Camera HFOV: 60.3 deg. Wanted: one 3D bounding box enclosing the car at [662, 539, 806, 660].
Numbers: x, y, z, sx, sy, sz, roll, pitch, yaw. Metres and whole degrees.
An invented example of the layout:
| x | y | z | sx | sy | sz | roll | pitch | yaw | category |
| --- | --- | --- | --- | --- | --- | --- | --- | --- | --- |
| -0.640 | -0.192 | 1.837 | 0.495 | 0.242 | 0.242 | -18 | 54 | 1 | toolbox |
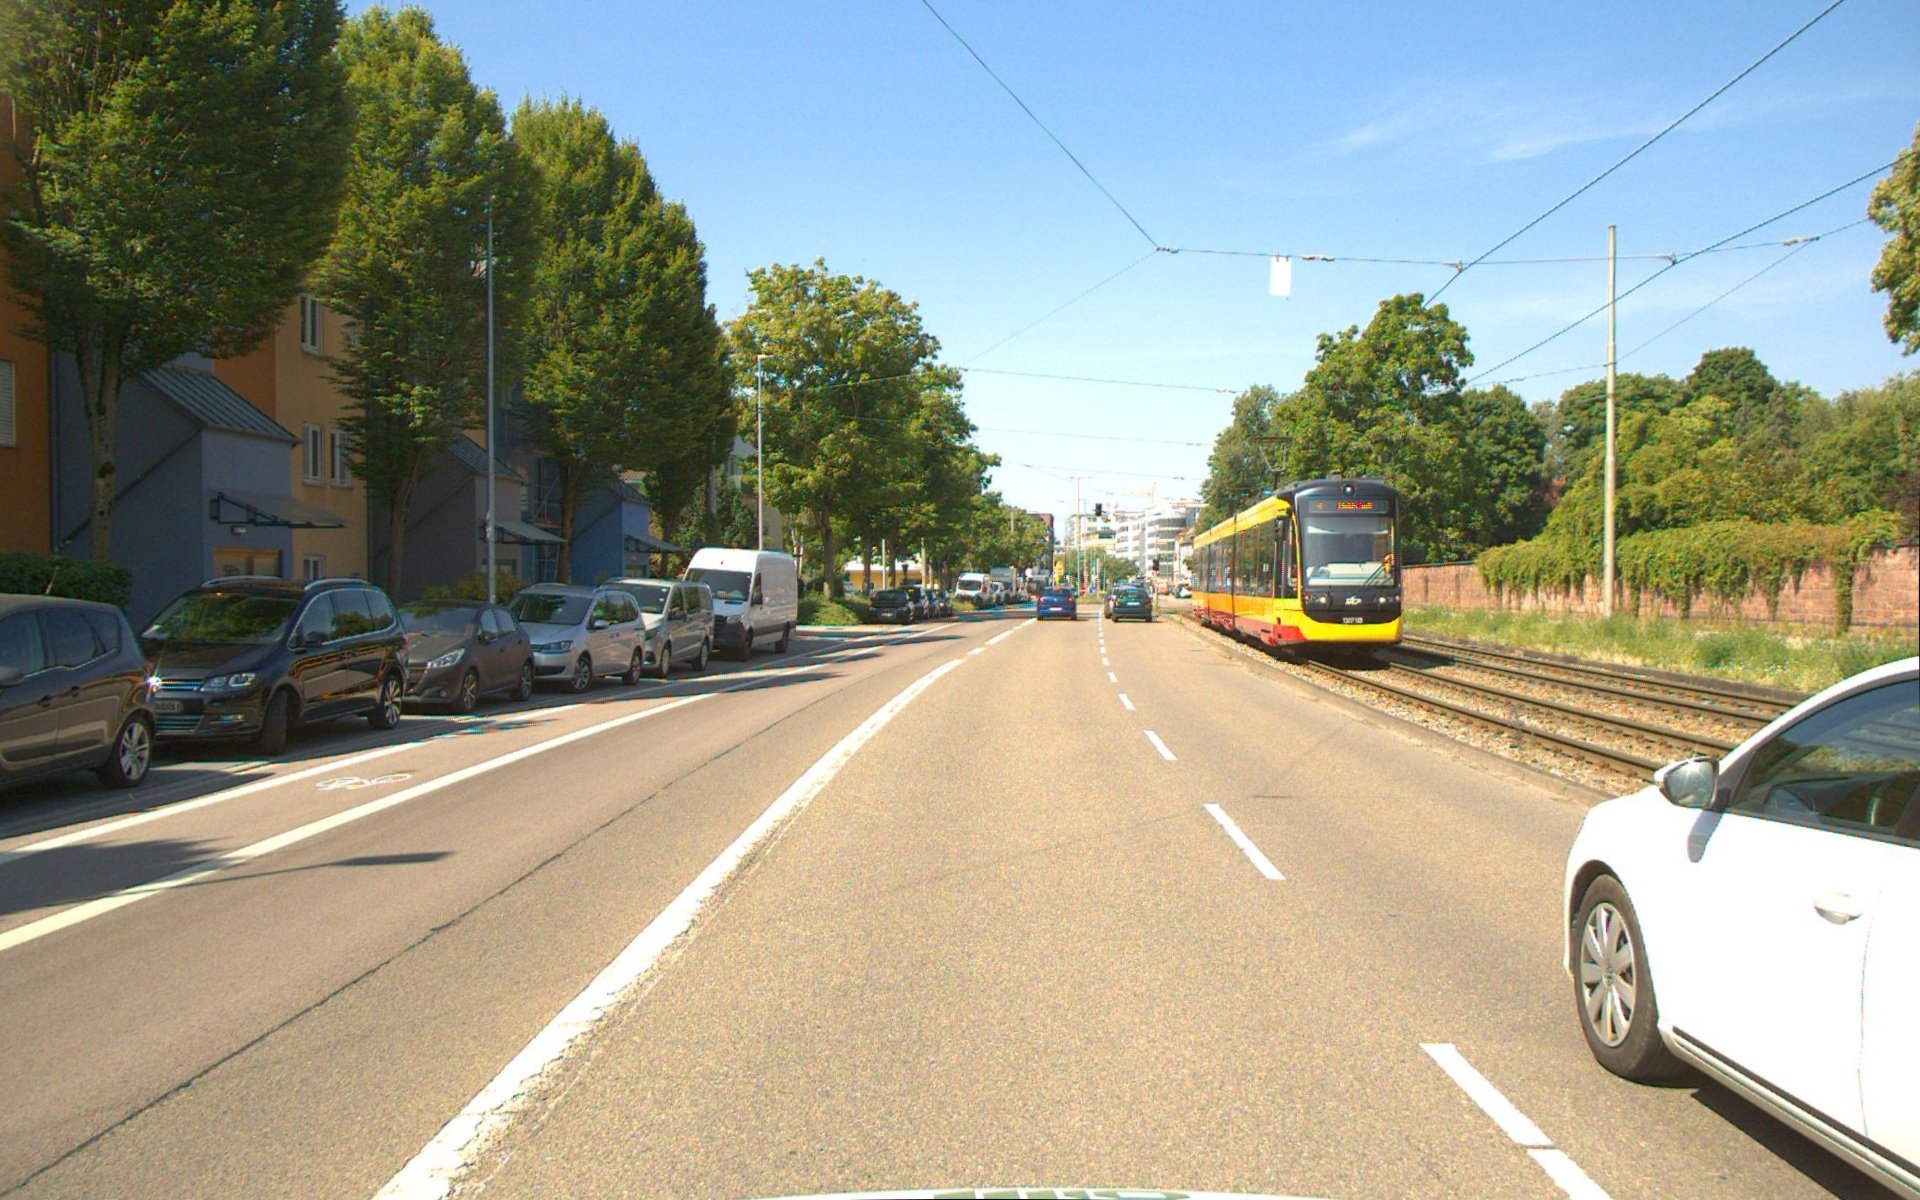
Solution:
| x | y | z | sx | sy | sz | roll | pitch | yaw | category |
| --- | --- | --- | --- | --- | --- | --- | --- | --- | --- |
| -5.681 | -0.037 | 42.651 | 1.952 | 2.761 | 7.161 | 2 | 1 | 6 | car |

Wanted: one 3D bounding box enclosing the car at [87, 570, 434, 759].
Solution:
| x | y | z | sx | sy | sz | roll | pitch | yaw | category |
| --- | --- | --- | --- | --- | --- | --- | --- | --- | --- |
| -7.463 | 0.591 | 18.262 | 1.733 | 1.753 | 4.870 | 2 | 1 | 0 | car |

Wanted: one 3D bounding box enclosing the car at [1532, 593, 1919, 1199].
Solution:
| x | y | z | sx | sy | sz | roll | pitch | yaw | category |
| --- | --- | --- | --- | --- | --- | --- | --- | --- | --- |
| 2.898 | 0.742 | 3.732 | 1.657 | 1.476 | 4.458 | 0 | 1 | 0 | car |

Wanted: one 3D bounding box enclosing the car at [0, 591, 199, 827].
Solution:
| x | y | z | sx | sy | sz | roll | pitch | yaw | category |
| --- | --- | --- | --- | --- | --- | --- | --- | --- | --- |
| -7.735 | 0.787 | 12.724 | 1.681 | 1.653 | 4.313 | 1 | 1 | 1 | car |

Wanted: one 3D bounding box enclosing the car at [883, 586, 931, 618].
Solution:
| x | y | z | sx | sy | sz | roll | pitch | yaw | category |
| --- | --- | --- | --- | --- | --- | --- | --- | --- | --- |
| -2.544 | 0.082 | 80.480 | 1.663 | 1.508 | 4.003 | 0 | 0 | 8 | car |

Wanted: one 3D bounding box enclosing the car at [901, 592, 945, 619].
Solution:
| x | y | z | sx | sy | sz | roll | pitch | yaw | category |
| --- | --- | --- | --- | --- | --- | --- | --- | --- | --- |
| -1.900 | 0.272 | 85.988 | 1.663 | 1.375 | 4.003 | 0 | 0 | 8 | car |

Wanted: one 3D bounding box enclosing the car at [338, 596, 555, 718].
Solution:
| x | y | z | sx | sy | sz | roll | pitch | yaw | category |
| --- | --- | --- | --- | --- | --- | --- | --- | --- | --- |
| -7.244 | 0.742 | 23.744 | 1.655 | 1.500 | 4.050 | 2 | 1 | 2 | car |

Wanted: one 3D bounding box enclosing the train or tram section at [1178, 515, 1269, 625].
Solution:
| x | y | z | sx | sy | sz | roll | pitch | yaw | category |
| --- | --- | --- | --- | --- | --- | --- | --- | --- | --- |
| 10.028 | -1.104 | 64.046 | 2.458 | 3.812 | 13.319 | 0 | 1 | 5 | train or tram section |

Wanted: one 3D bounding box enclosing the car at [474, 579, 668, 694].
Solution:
| x | y | z | sx | sy | sz | roll | pitch | yaw | category |
| --- | --- | --- | --- | --- | --- | --- | --- | --- | --- |
| -6.670 | 0.568 | 28.937 | 1.763 | 1.754 | 4.912 | 3 | 1 | 5 | car |

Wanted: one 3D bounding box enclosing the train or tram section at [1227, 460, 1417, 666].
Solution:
| x | y | z | sx | sy | sz | roll | pitch | yaw | category |
| --- | --- | --- | --- | --- | --- | --- | --- | --- | --- |
| 7.827 | -0.757 | 37.555 | 2.458 | 3.812 | 13.319 | 0 | 1 | 5 | train or tram section |

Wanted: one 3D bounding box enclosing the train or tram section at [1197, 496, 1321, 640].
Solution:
| x | y | z | sx | sy | sz | roll | pitch | yaw | category |
| --- | --- | --- | --- | --- | --- | --- | --- | --- | --- |
| 8.927 | -0.924 | 50.804 | 2.458 | 3.812 | 13.319 | 0 | 1 | 5 | train or tram section |

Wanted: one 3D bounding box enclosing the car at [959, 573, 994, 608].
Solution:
| x | y | z | sx | sy | sz | roll | pitch | yaw | category |
| --- | --- | --- | --- | --- | --- | --- | --- | --- | --- |
| 1.212 | -0.696 | 120.098 | 1.840 | 2.458 | 5.120 | 0 | 0 | 8 | car |

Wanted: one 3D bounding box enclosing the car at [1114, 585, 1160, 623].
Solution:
| x | y | z | sx | sy | sz | roll | pitch | yaw | category |
| --- | --- | --- | --- | --- | --- | --- | --- | --- | --- |
| 7.493 | 0.148 | 70.233 | 1.762 | 1.533 | 4.002 | 1 | 1 | 4 | car |

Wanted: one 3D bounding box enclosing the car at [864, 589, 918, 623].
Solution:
| x | y | z | sx | sy | sz | roll | pitch | yaw | category |
| --- | --- | --- | --- | --- | --- | --- | --- | --- | --- |
| -3.012 | 0.256 | 73.129 | 1.663 | 1.441 | 4.003 | 0 | 0 | 8 | car |

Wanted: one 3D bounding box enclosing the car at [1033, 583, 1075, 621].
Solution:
| x | y | z | sx | sy | sz | roll | pitch | yaw | category |
| --- | --- | --- | --- | --- | --- | --- | --- | --- | --- |
| 4.166 | 0.074 | 72.580 | 1.762 | 1.533 | 4.003 | 1 | 2 | 4 | car |

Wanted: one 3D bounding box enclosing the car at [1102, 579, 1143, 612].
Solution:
| x | y | z | sx | sy | sz | roll | pitch | yaw | category |
| --- | --- | --- | --- | --- | --- | --- | --- | --- | --- |
| 7.586 | -0.240 | 77.415 | 1.762 | 1.485 | 4.002 | 1 | 1 | 4 | car |

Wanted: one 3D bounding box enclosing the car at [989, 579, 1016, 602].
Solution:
| x | y | z | sx | sy | sz | roll | pitch | yaw | category |
| --- | --- | --- | --- | --- | --- | --- | --- | --- | --- |
| 3.624 | -0.779 | 140.398 | 1.787 | 1.899 | 4.728 | 0 | 0 | 8 | car |

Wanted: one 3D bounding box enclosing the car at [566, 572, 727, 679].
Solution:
| x | y | z | sx | sy | sz | roll | pitch | yaw | category |
| --- | --- | --- | --- | --- | --- | --- | --- | --- | --- |
| -6.416 | 0.475 | 34.535 | 1.879 | 1.982 | 5.357 | 2 | 1 | 4 | car |
